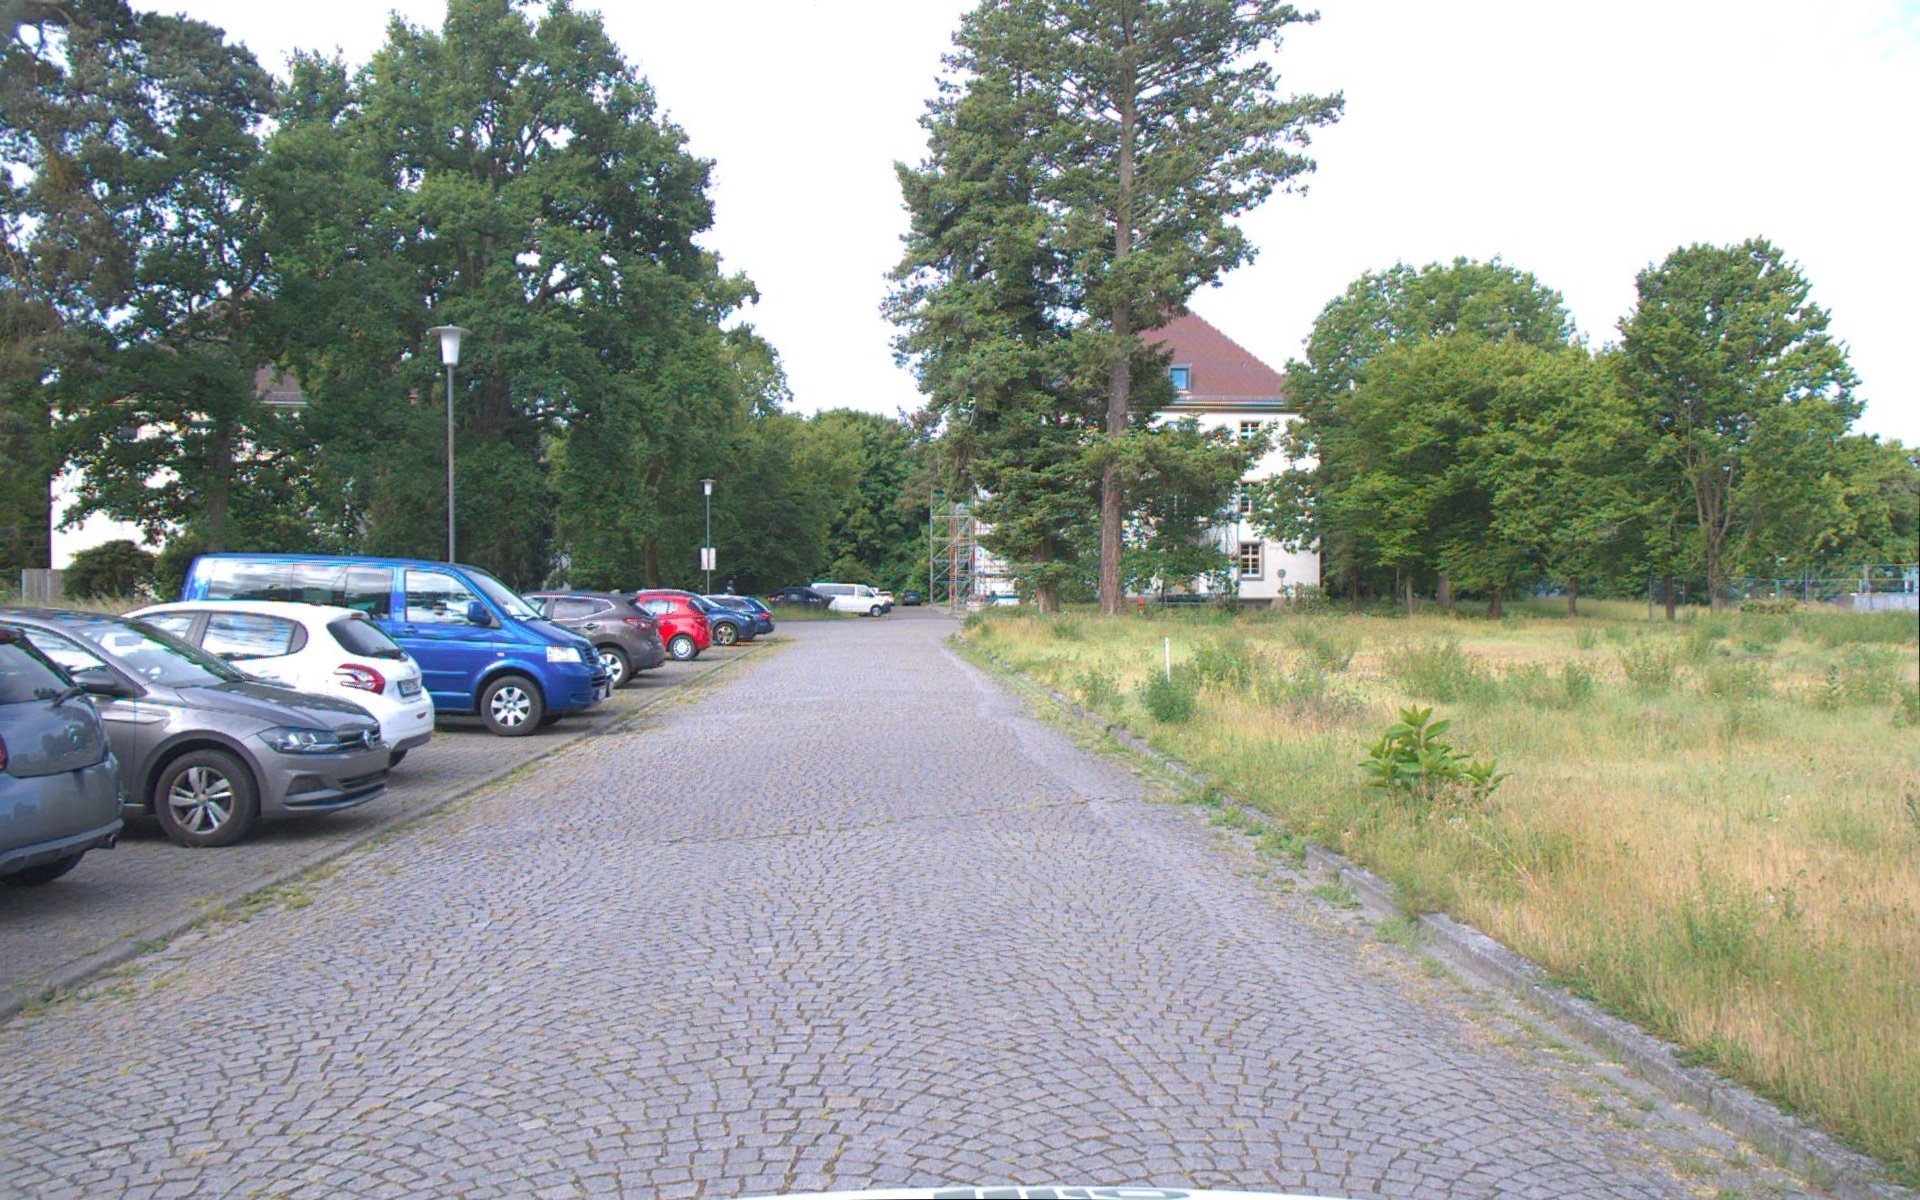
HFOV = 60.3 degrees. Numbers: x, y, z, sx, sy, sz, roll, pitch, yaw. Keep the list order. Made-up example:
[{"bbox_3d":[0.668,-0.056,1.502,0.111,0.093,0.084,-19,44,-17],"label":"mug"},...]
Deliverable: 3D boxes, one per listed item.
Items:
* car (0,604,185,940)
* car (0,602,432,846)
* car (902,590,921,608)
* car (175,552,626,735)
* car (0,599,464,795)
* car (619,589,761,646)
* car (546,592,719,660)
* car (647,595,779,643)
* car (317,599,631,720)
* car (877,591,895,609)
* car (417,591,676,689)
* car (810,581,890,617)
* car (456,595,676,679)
[{"bbox_3d":[-6.333,0.781,8.339,4.005,1.506,1.754,0,0,-2],"label":"car"},{"bbox_3d":[-5.978,0.784,11.246,4.217,1.506,1.730,0,0,-2],"label":"car"},{"bbox_3d":[-4.989,-0.062,169.100,1.755,1.750,4.057,0,-1,-4],"label":"car"},{"bbox_3d":[-6.401,0.482,19.395,4.616,2.015,2.037,0,0,-4],"label":"car"},{"bbox_3d":[-6.459,0.775,14.087,3.924,1.528,1.842,0,0,-2],"label":"car"},{"bbox_3d":[-7.923,0.518,48.776,3.991,1.632,1.786,0,0,-5],"label":"car"},{"bbox_3d":[-7.569,0.595,38.535,3.740,1.515,1.786,0,0,-4],"label":"car"},{"bbox_3d":[-7.962,0.606,53.476,3.987,1.493,1.626,0,0,0],"label":"car"},{"bbox_3d":[-6.360,0.755,21.984,3.720,1.519,1.724,0,0,-6],"label":"car"},{"bbox_3d":[-7.541,-0.005,168.634,1.755,1.665,4.057,0,-1,-4],"label":"car"},{"bbox_3d":[-6.971,0.656,28.244,3.988,1.602,1.953,0,0,-4],"label":"car"},{"bbox_3d":[-6.811,-0.043,102.565,4.880,2.109,2.050,1,-1,-4],"label":"car"},{"bbox_3d":[-7.316,0.677,31.014,3.740,1.512,1.760,0,0,-3],"label":"car"}]
